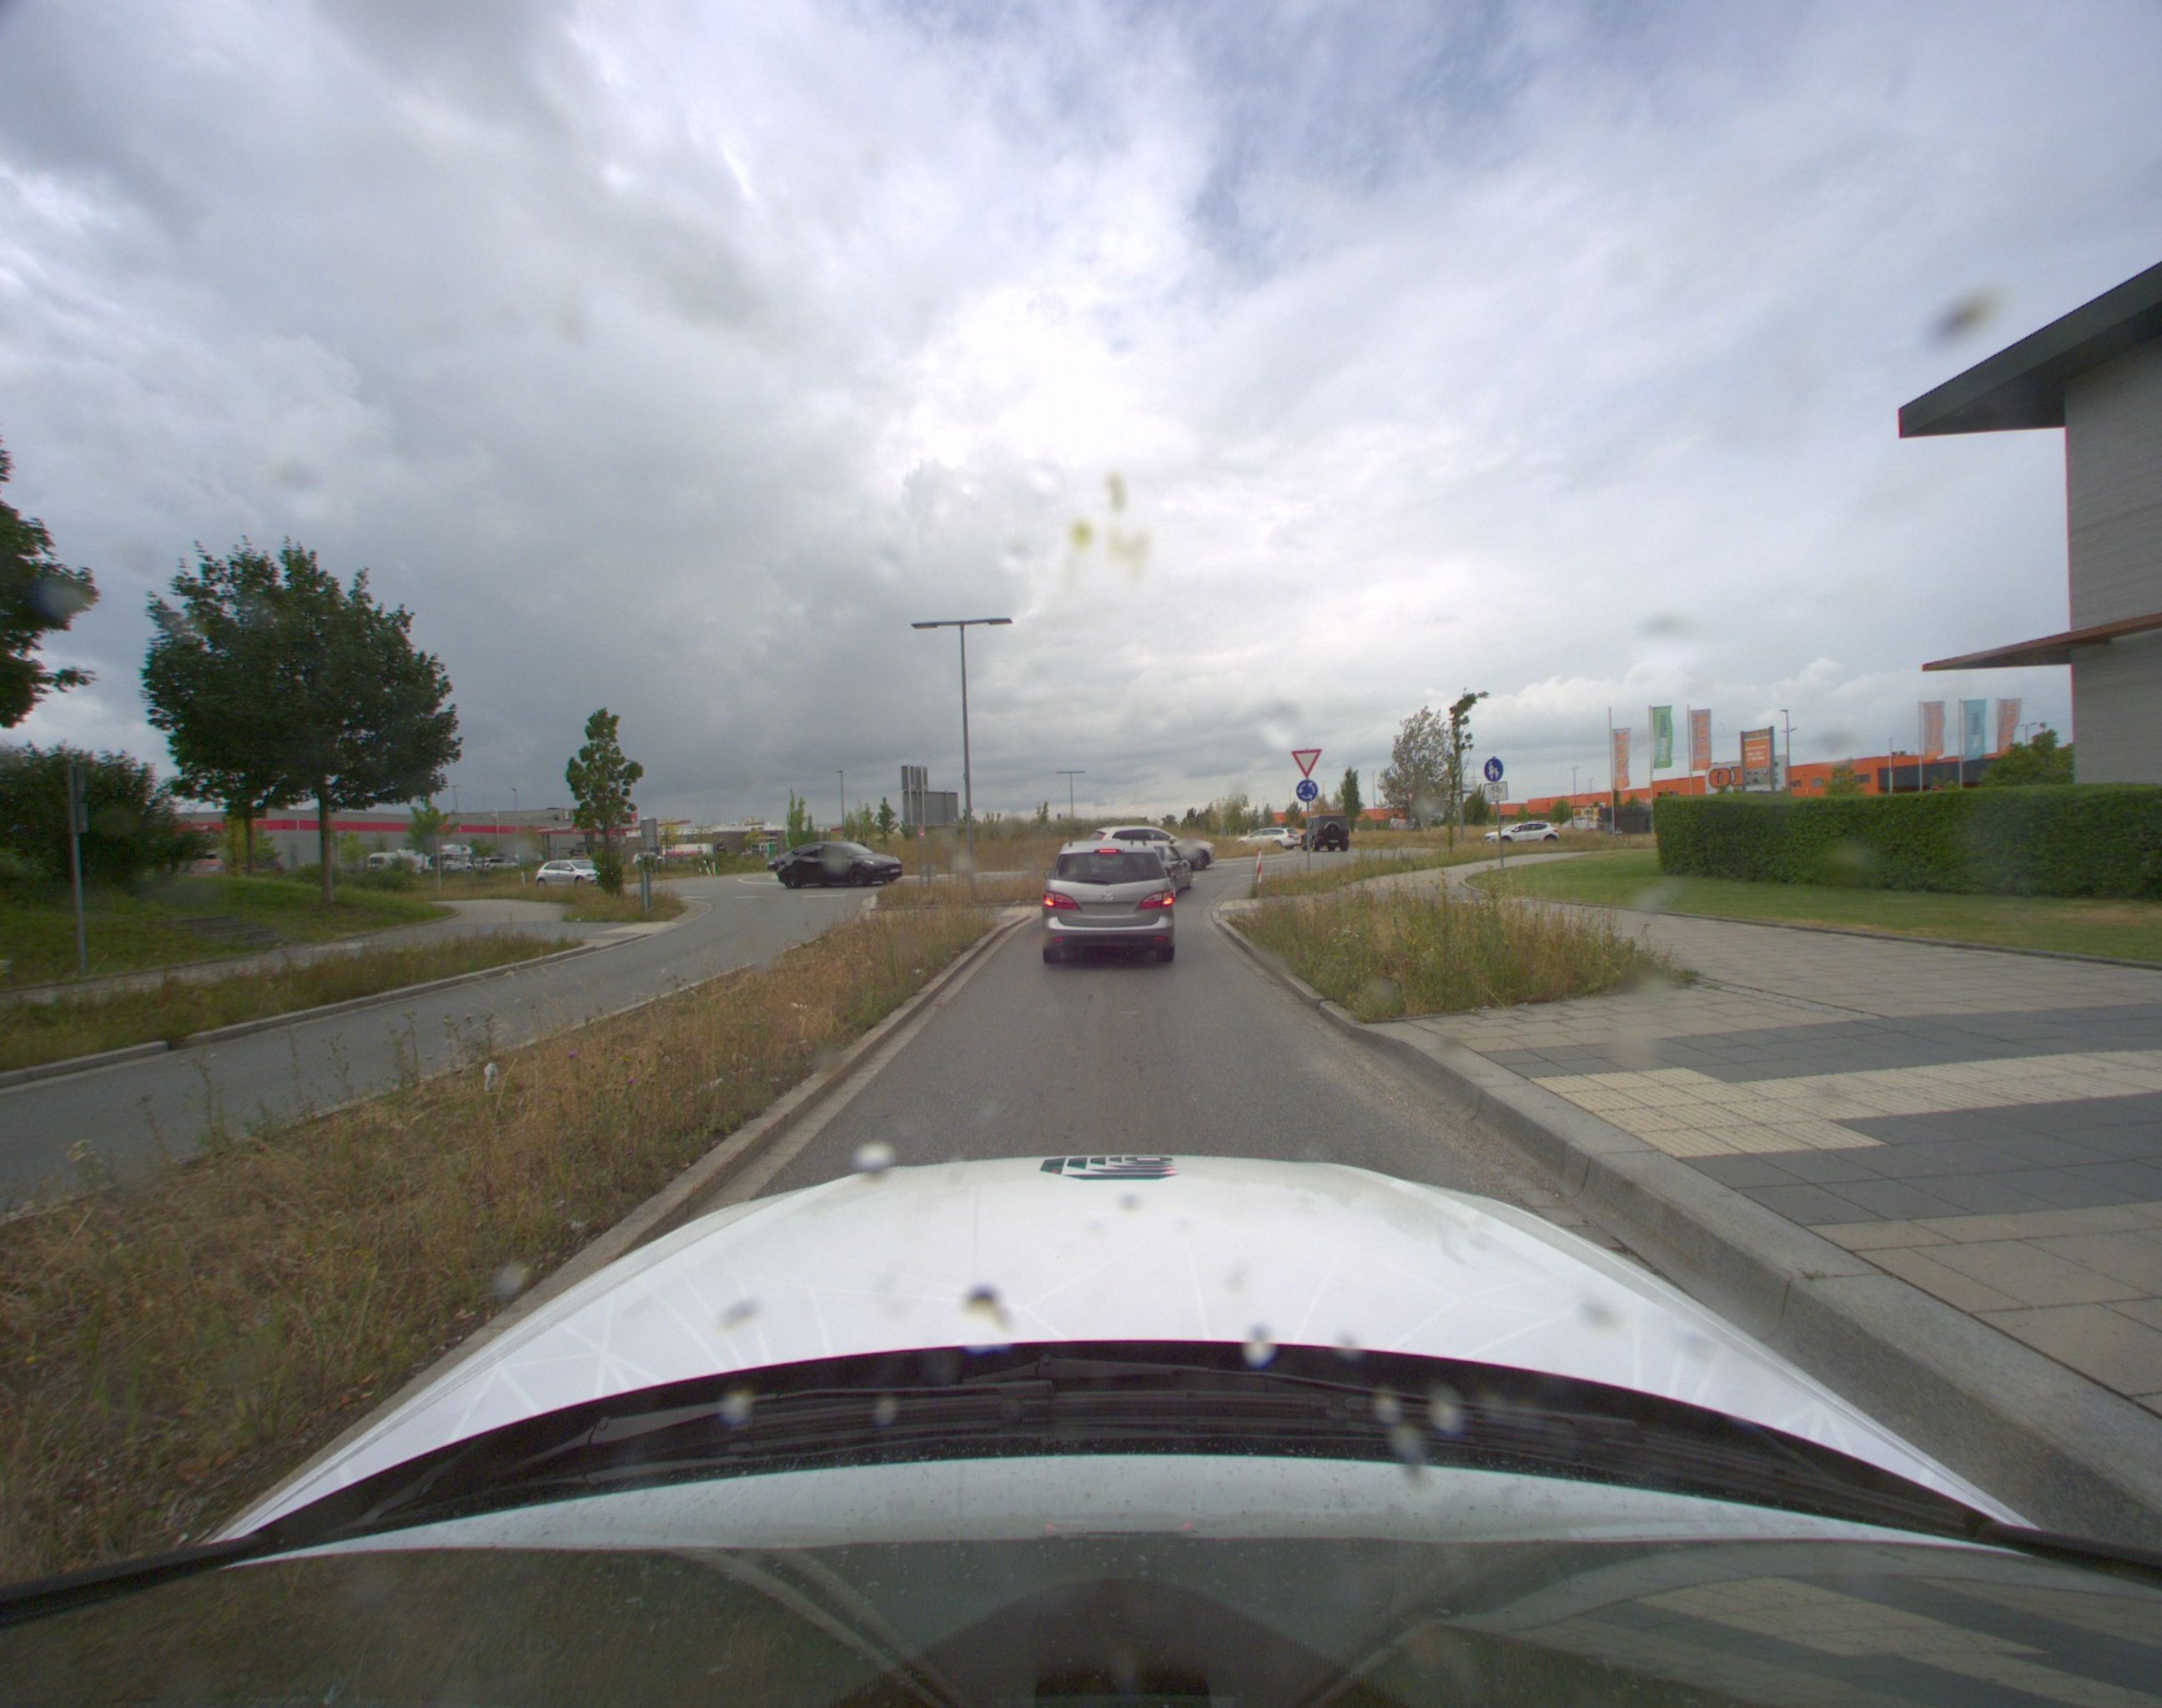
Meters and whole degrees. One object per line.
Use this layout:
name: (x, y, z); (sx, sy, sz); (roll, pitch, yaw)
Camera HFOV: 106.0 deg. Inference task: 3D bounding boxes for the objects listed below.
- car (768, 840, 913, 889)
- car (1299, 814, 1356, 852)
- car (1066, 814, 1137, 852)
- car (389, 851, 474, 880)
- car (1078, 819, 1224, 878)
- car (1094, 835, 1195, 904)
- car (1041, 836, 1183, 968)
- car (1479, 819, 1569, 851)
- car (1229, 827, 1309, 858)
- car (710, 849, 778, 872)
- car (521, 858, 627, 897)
car: (-8.536, 0.362, 28.921); (4.716, 1.498, 1.956); (-2, 3, 24)
car: (13.594, -1.213, 45.252); (2.067, 1.886, 4.783); (-3, 3, 5)
car: (1.552, -1.550, 60.527); (4.722, 2.543, 2.094); (-2, 3, 17)
car: (-65.784, 1.107, 82.776); (2.455, 2.820, 7.688); (0, 0, 0)
car: (2.461, -0.240, 28.966); (4.766, 1.738, 1.935); (-4, 3, -15)
car: (1.727, 0.319, 20.641); (1.724, 1.403, 4.016); (0, 4, 17)
car: (0.424, 0.541, 11.960); (1.732, 1.598, 3.999); (0, 1, 1)
car: (26.117, -1.143, 48.114); (4.307, 1.648, 1.873); (-3, 2, 4)
car: (12.437, -0.758, 54.120); (4.714, 1.886, 2.098); (-1, 3, 42)
car: (-21.450, 0.410, 51.869); (3.857, 1.325, 1.457); (-2, 0, -27)
car: (-22.957, 1.058, 36.914); (3.955, 1.464, 1.822); (-3, 1, 17)
